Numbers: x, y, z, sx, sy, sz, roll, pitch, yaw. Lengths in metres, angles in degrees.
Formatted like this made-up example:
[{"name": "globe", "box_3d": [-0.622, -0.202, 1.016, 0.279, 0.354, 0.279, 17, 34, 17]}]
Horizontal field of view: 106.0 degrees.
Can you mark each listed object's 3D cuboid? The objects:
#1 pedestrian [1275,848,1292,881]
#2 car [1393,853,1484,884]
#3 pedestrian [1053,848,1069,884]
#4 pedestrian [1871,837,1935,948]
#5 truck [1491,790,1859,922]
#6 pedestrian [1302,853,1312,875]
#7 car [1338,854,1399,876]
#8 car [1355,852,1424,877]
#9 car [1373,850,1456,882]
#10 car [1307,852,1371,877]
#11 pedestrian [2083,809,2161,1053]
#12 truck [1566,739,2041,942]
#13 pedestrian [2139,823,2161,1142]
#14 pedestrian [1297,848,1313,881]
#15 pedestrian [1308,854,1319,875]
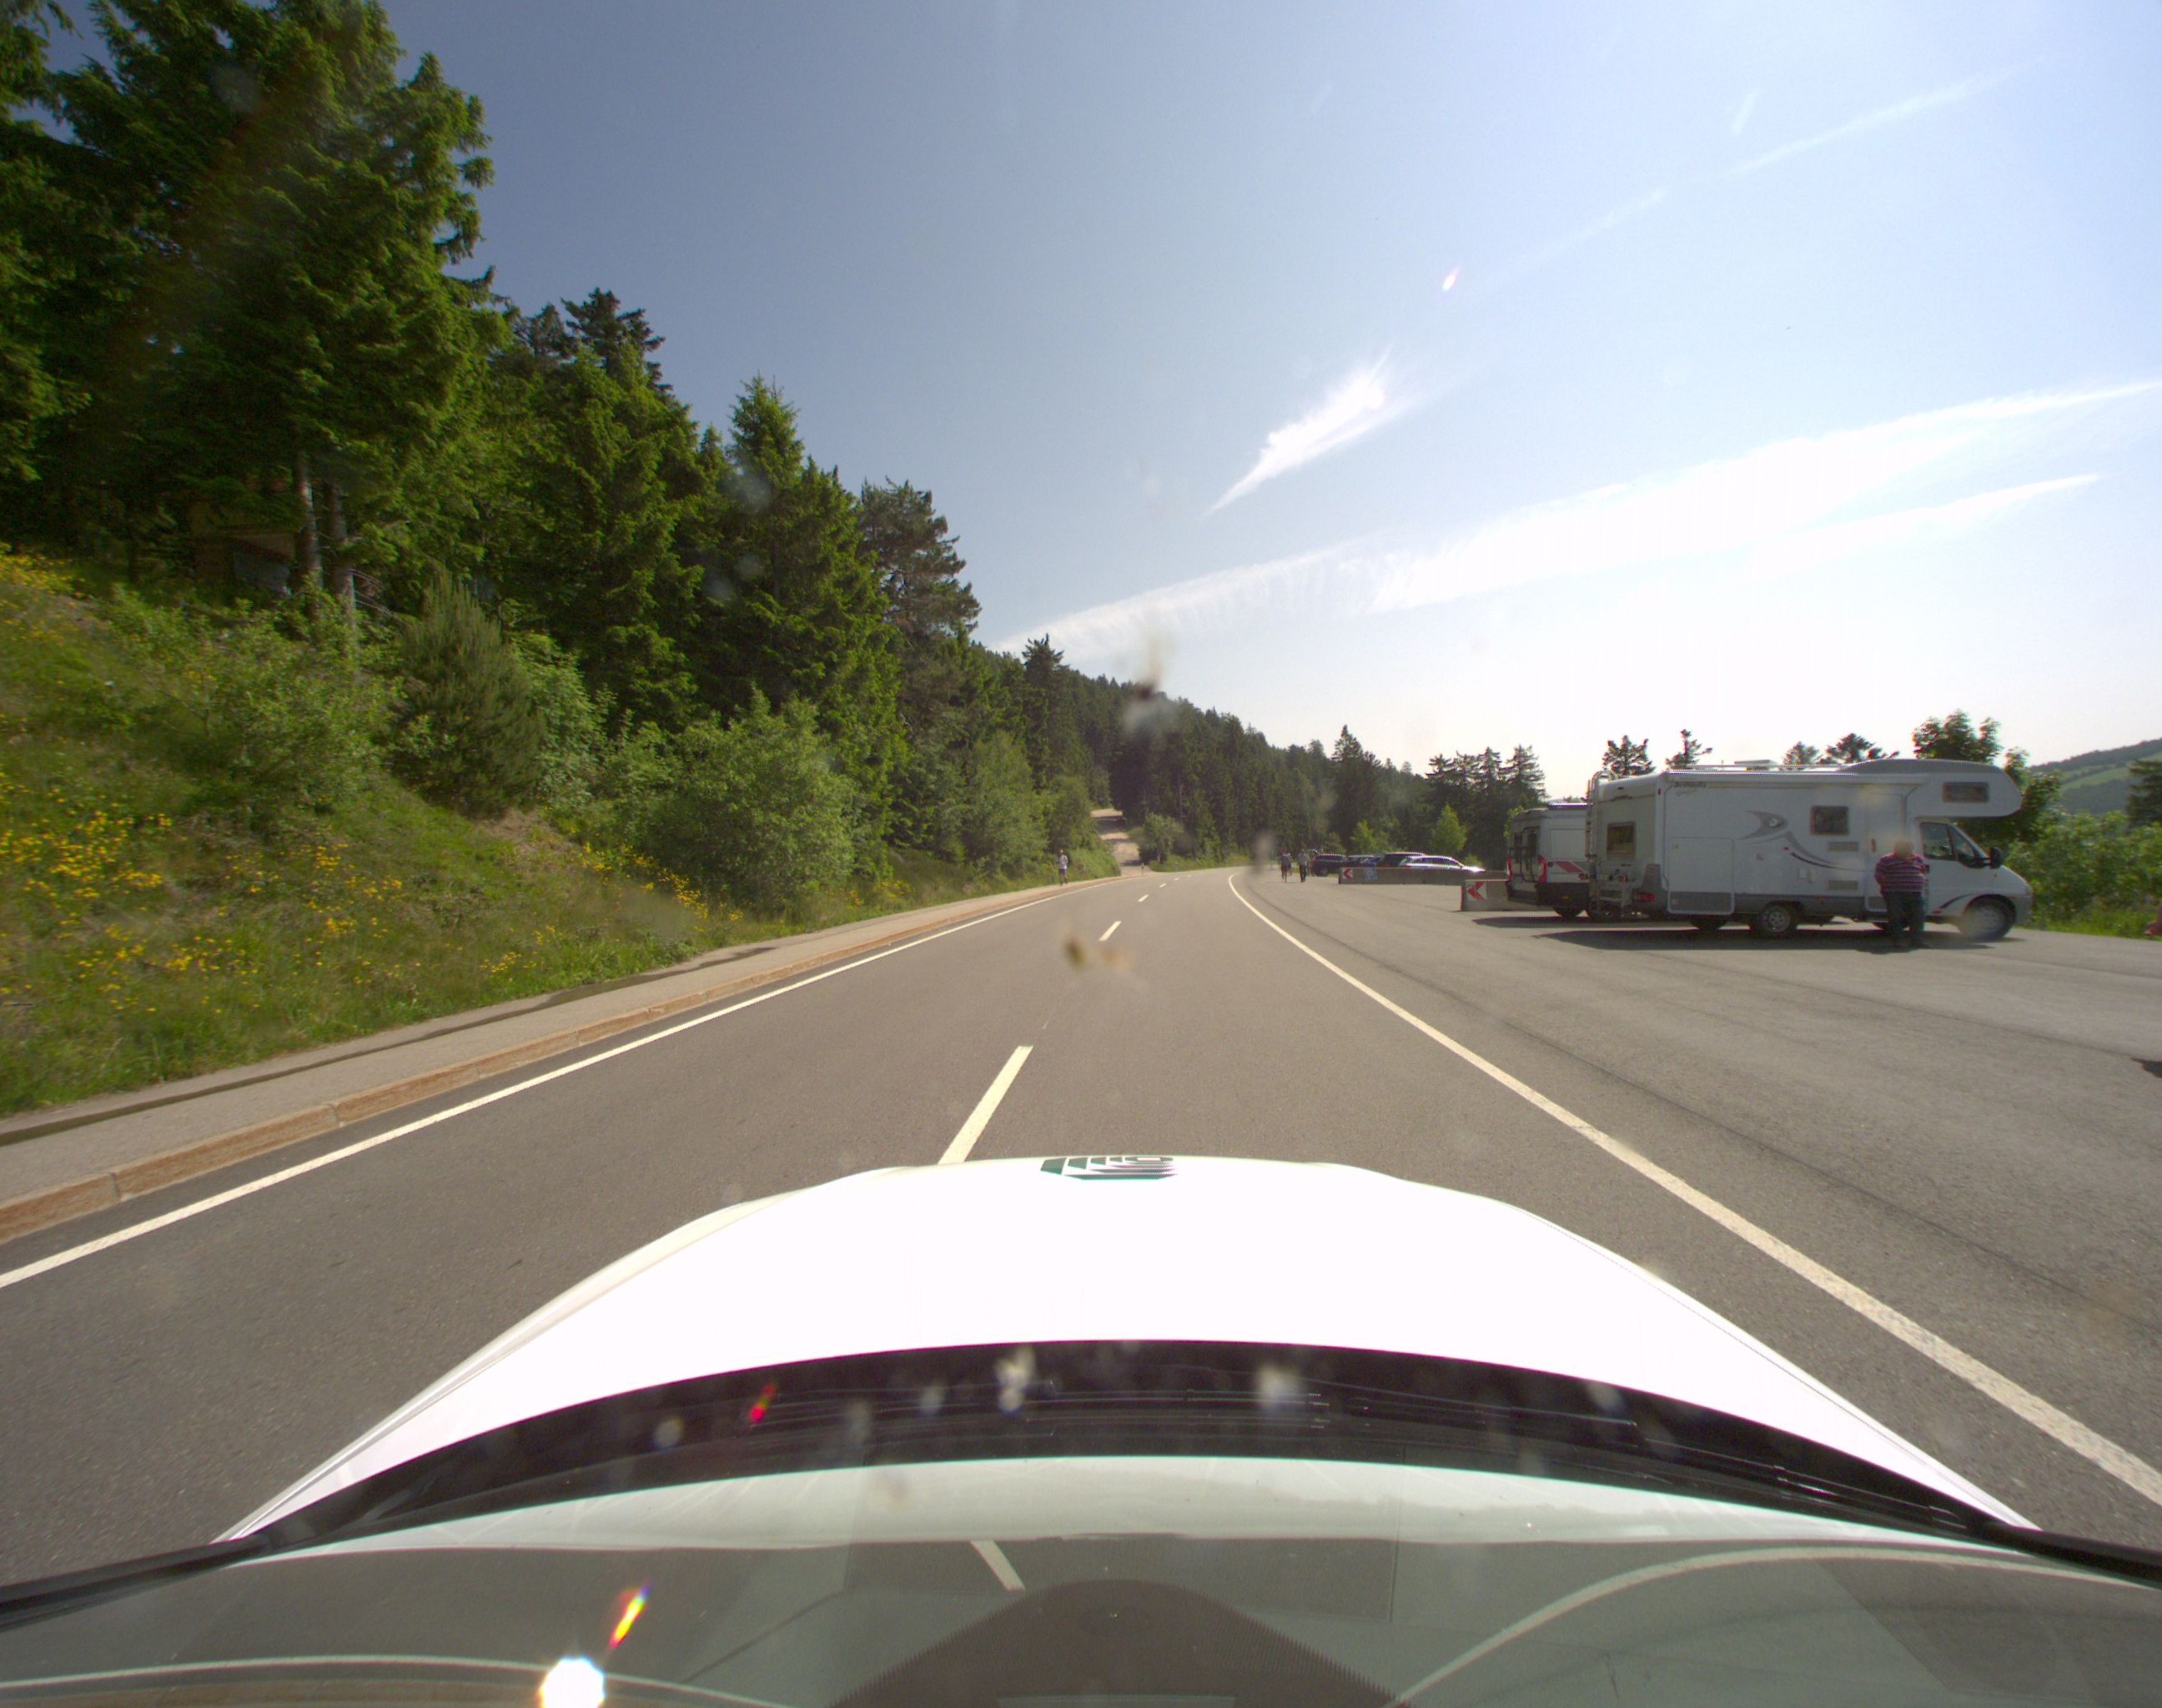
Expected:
[{"name": "pedestrian", "box_3d": [11.031, 0.587, 44.350, 0.747, 1.760, 0.779, -1, 0, 22]}, {"name": "car", "box_3d": [18.439, 0.714, 42.181, 3.967, 1.476, 1.776, 1, 0, 5]}, {"name": "pedestrian", "box_3d": [-0.966, 0.599, 40.171, 0.679, 1.746, 0.826, -1, 0, 4]}, {"name": "pedestrian", "box_3d": [12.610, 0.568, 12.507, 0.639, 1.640, 0.636, -1, 0, 43]}, {"name": "truck", "box_3d": [12.805, 0.062, 18.037, 6.226, 2.590, 2.345, -1, 0, 7]}, {"name": "pedestrian", "box_3d": [17.890, 0.804, 64.443, 0.647, 1.660, 0.691, -2, 1, 21]}, {"name": "car", "box_3d": [20.288, 0.774, 57.569, 3.737, 1.567, 1.601, 0, -1, 2]}, {"name": "car", "box_3d": [20.485, 0.685, 54.134, 3.968, 1.535, 1.810, 0, 3, 4]}, {"name": "car", "box_3d": [18.626, 0.646, 45.585, 3.968, 1.647, 1.602, 1, 0, 4]}, {"name": "car", "box_3d": [19.185, 0.746, 60.599, 4.243, 1.794, 1.895, 0, 0, 5]}, {"name": "pedestrian", "box_3d": [8.147, 0.548, 6.052, 0.624, 1.757, 0.631, -1, 0, 21]}, {"name": "truck", "box_3d": [12.543, -0.192, 14.650, 6.033, 3.196, 2.536, -1, -1, 5]}, {"name": "pedestrian", "box_3d": [5.503, 0.629, 3.678, 0.624, 1.567, 0.631, -1, 0, 21]}, {"name": "pedestrian", "box_3d": [12.072, 0.564, 43.868, 0.659, 1.741, 0.899, -1, 0, 22]}, {"name": "pedestrian", "box_3d": [18.077, 0.836, 63.250, 0.611, 1.587, 0.740, -2, 1, 28]}]
